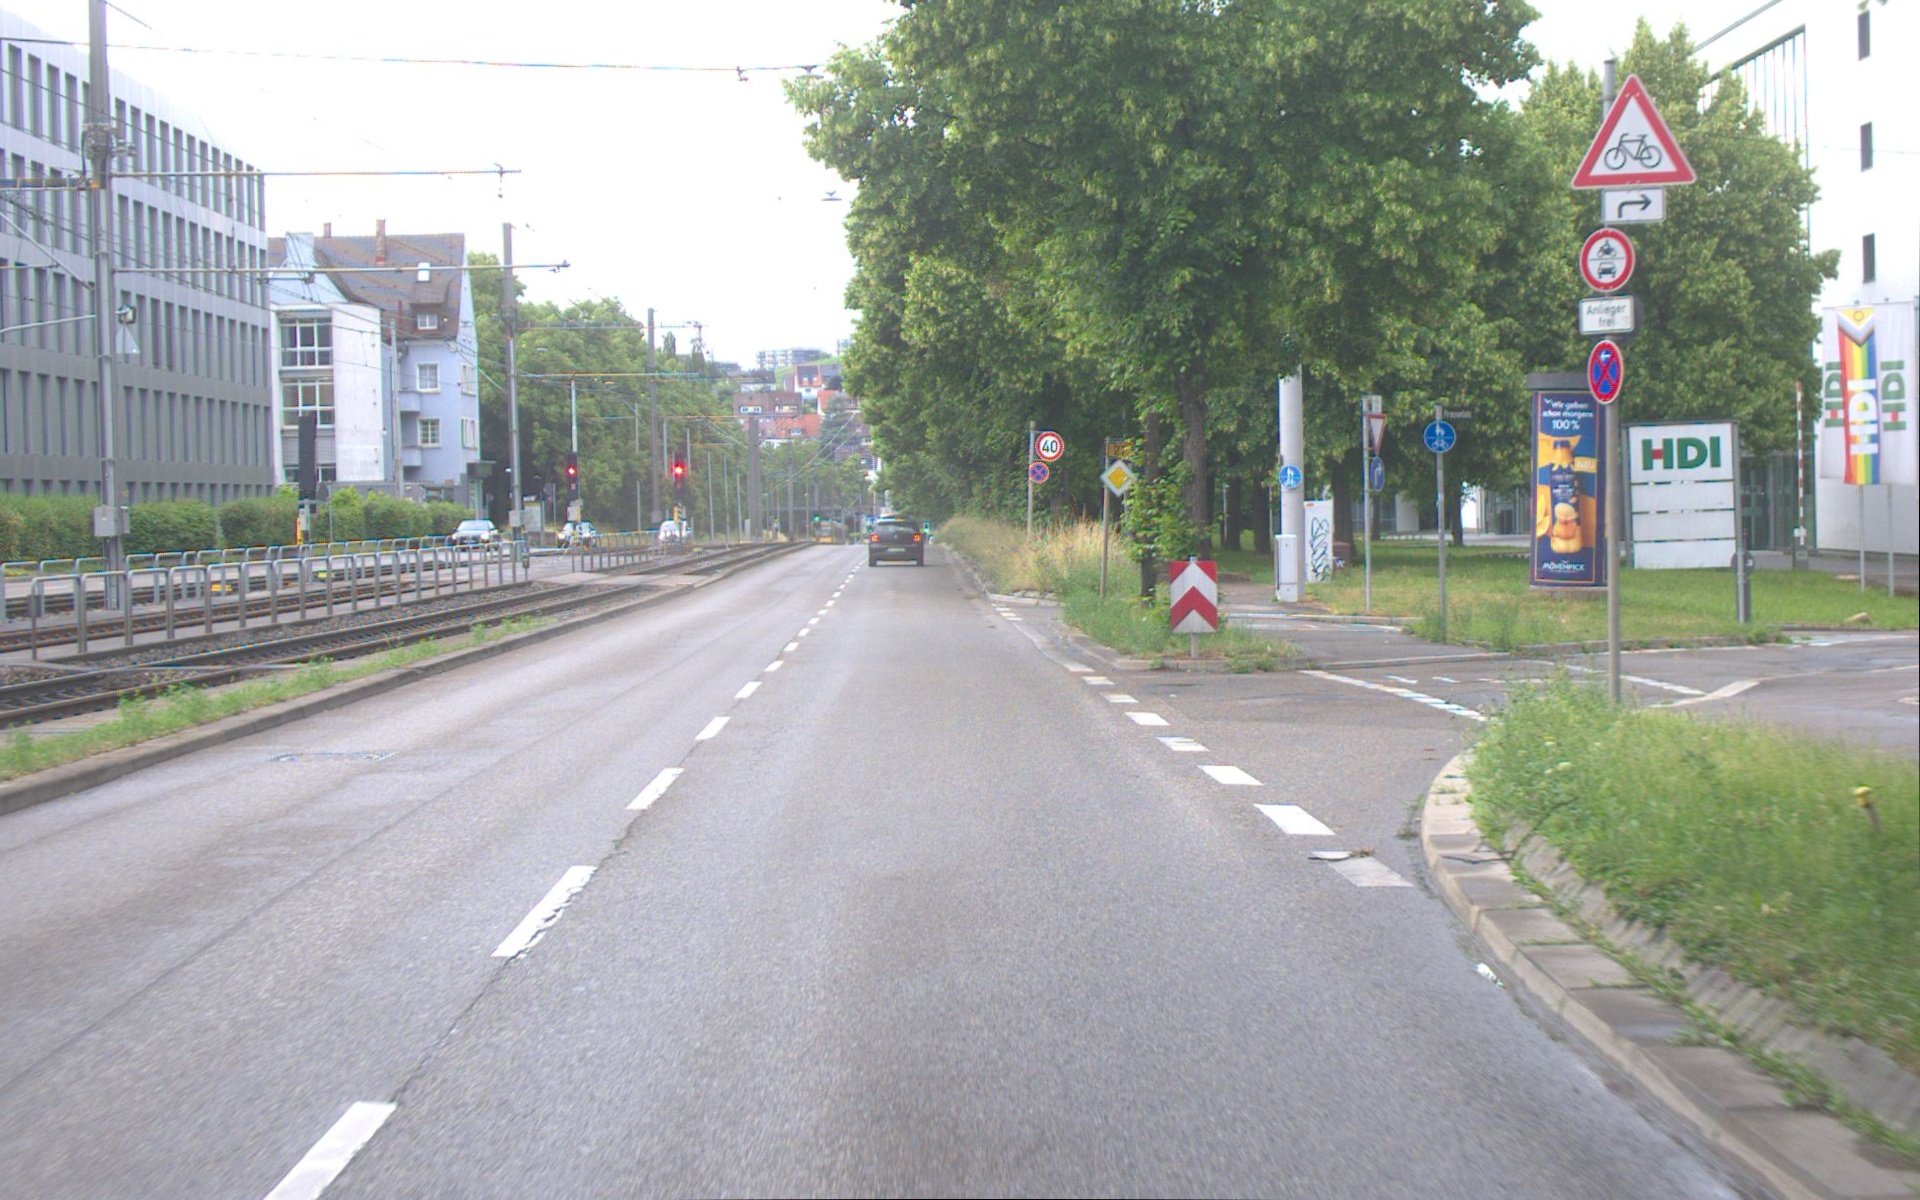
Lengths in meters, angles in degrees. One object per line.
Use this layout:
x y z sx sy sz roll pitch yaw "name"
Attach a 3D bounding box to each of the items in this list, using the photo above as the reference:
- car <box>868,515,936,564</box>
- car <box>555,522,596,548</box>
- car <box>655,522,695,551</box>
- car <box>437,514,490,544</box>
-1.739 -1.846 104.343 1.982 1.435 4.474 -1 1 -1 "car"
-20.854 -3.520 186.599 1.798 1.342 4.260 -1 1 -1 "car"
-17.233 -3.849 207.888 1.902 1.639 4.884 -1 1 1 "car"
-21.950 -3.148 152.144 1.756 1.239 3.988 -1 1 -1 "car"
